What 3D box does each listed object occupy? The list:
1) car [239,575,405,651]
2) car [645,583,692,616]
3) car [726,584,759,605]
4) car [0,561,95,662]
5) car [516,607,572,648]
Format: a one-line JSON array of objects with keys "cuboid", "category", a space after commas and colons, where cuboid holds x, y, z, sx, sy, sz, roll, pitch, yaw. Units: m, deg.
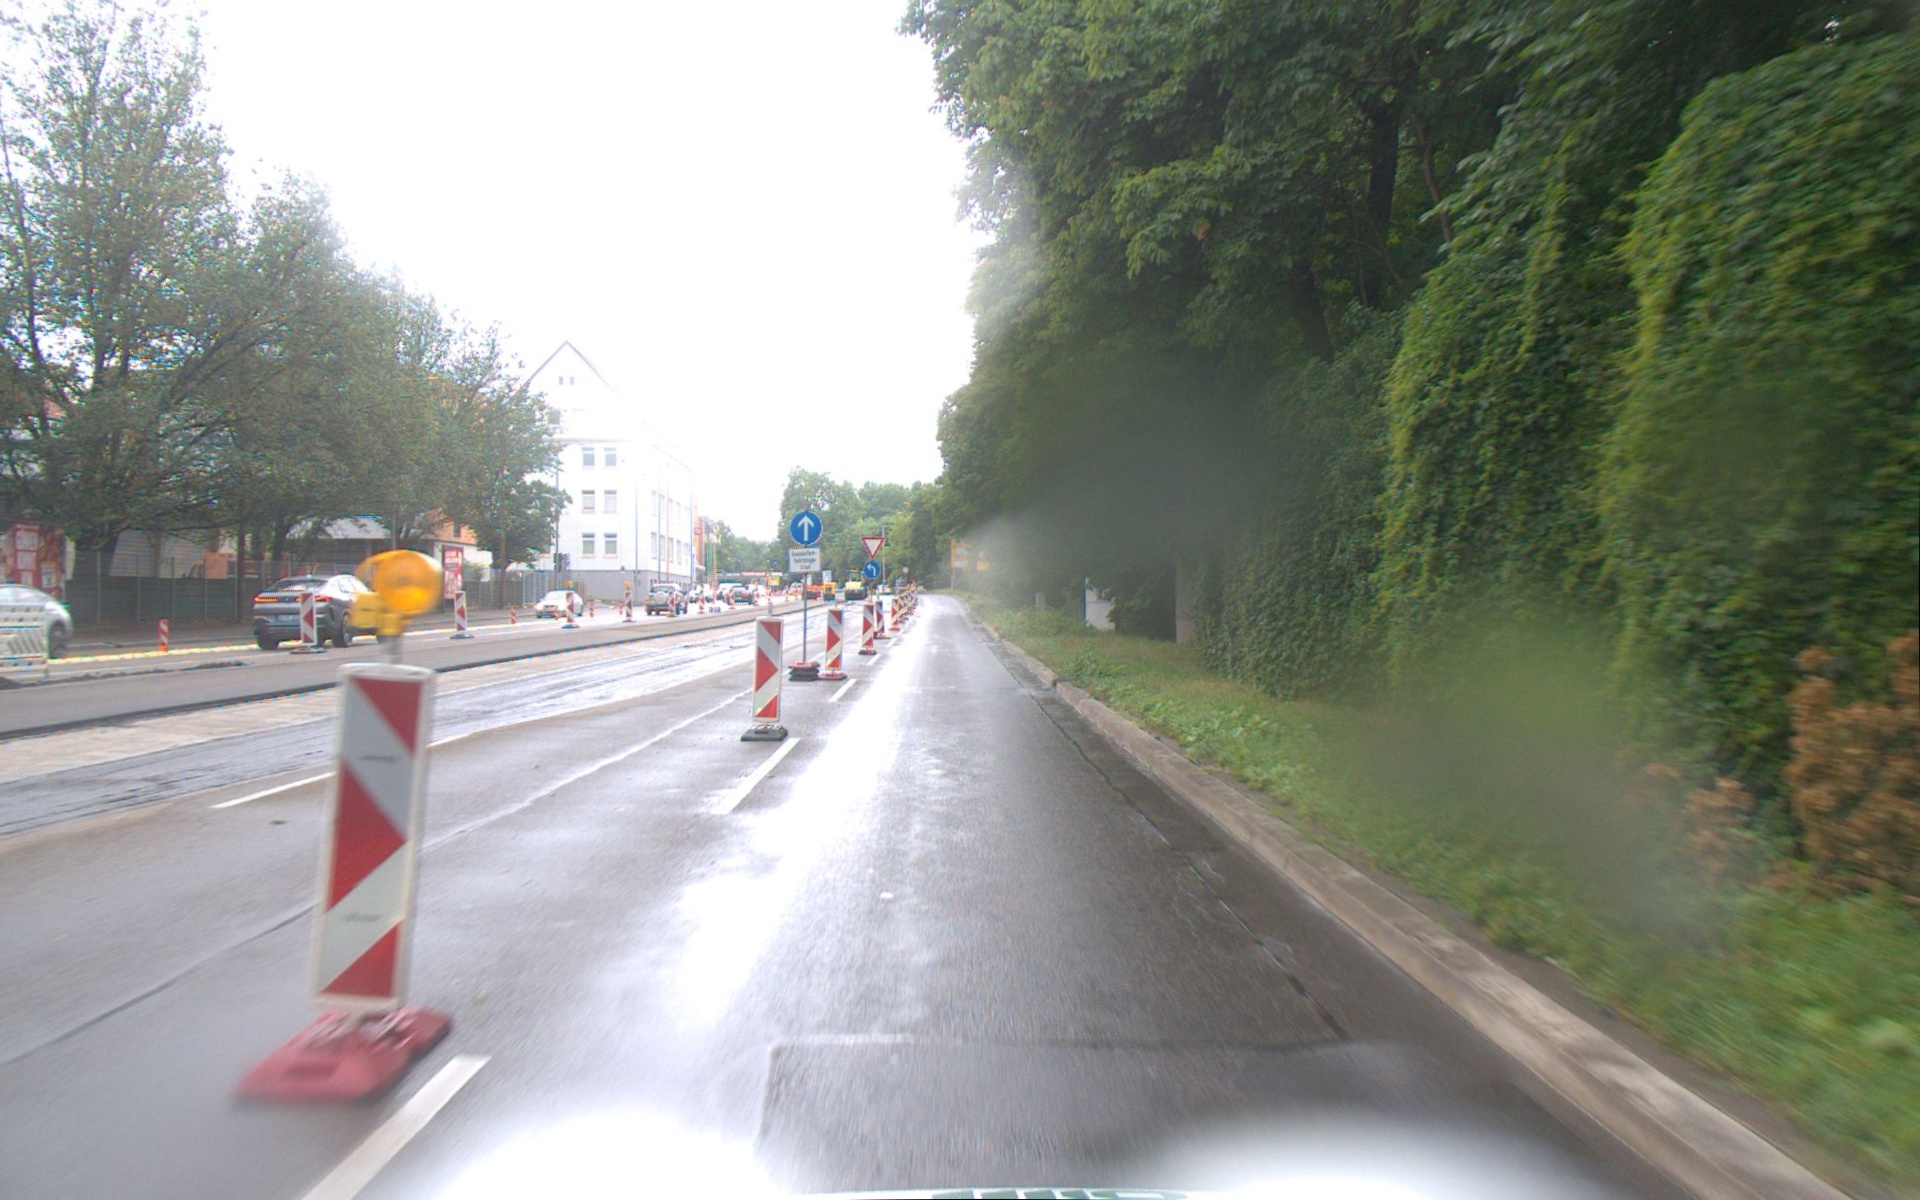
[{"cuboid": [-14.957, 0.292, 39.123, 2.034, 1.641, 5.055, 1, 0, -1], "category": "car"}, {"cuboid": [-15.511, -0.041, 88.043, 1.817, 1.677, 3.999, 1, 0, -1], "category": "car"}, {"cuboid": [-16.165, -0.394, 122.910, 1.953, 1.545, 3.999, 1, 0, -1], "category": "car"}, {"cuboid": [-18.123, 0.188, 30.645, 1.953, 1.797, 4.278, 1, 0, -1], "category": "car"}, {"cuboid": [-21.392, 1.390, 85.135, 1.953, 2.049, 3.999, 1, 0, -2], "category": "car"}]
